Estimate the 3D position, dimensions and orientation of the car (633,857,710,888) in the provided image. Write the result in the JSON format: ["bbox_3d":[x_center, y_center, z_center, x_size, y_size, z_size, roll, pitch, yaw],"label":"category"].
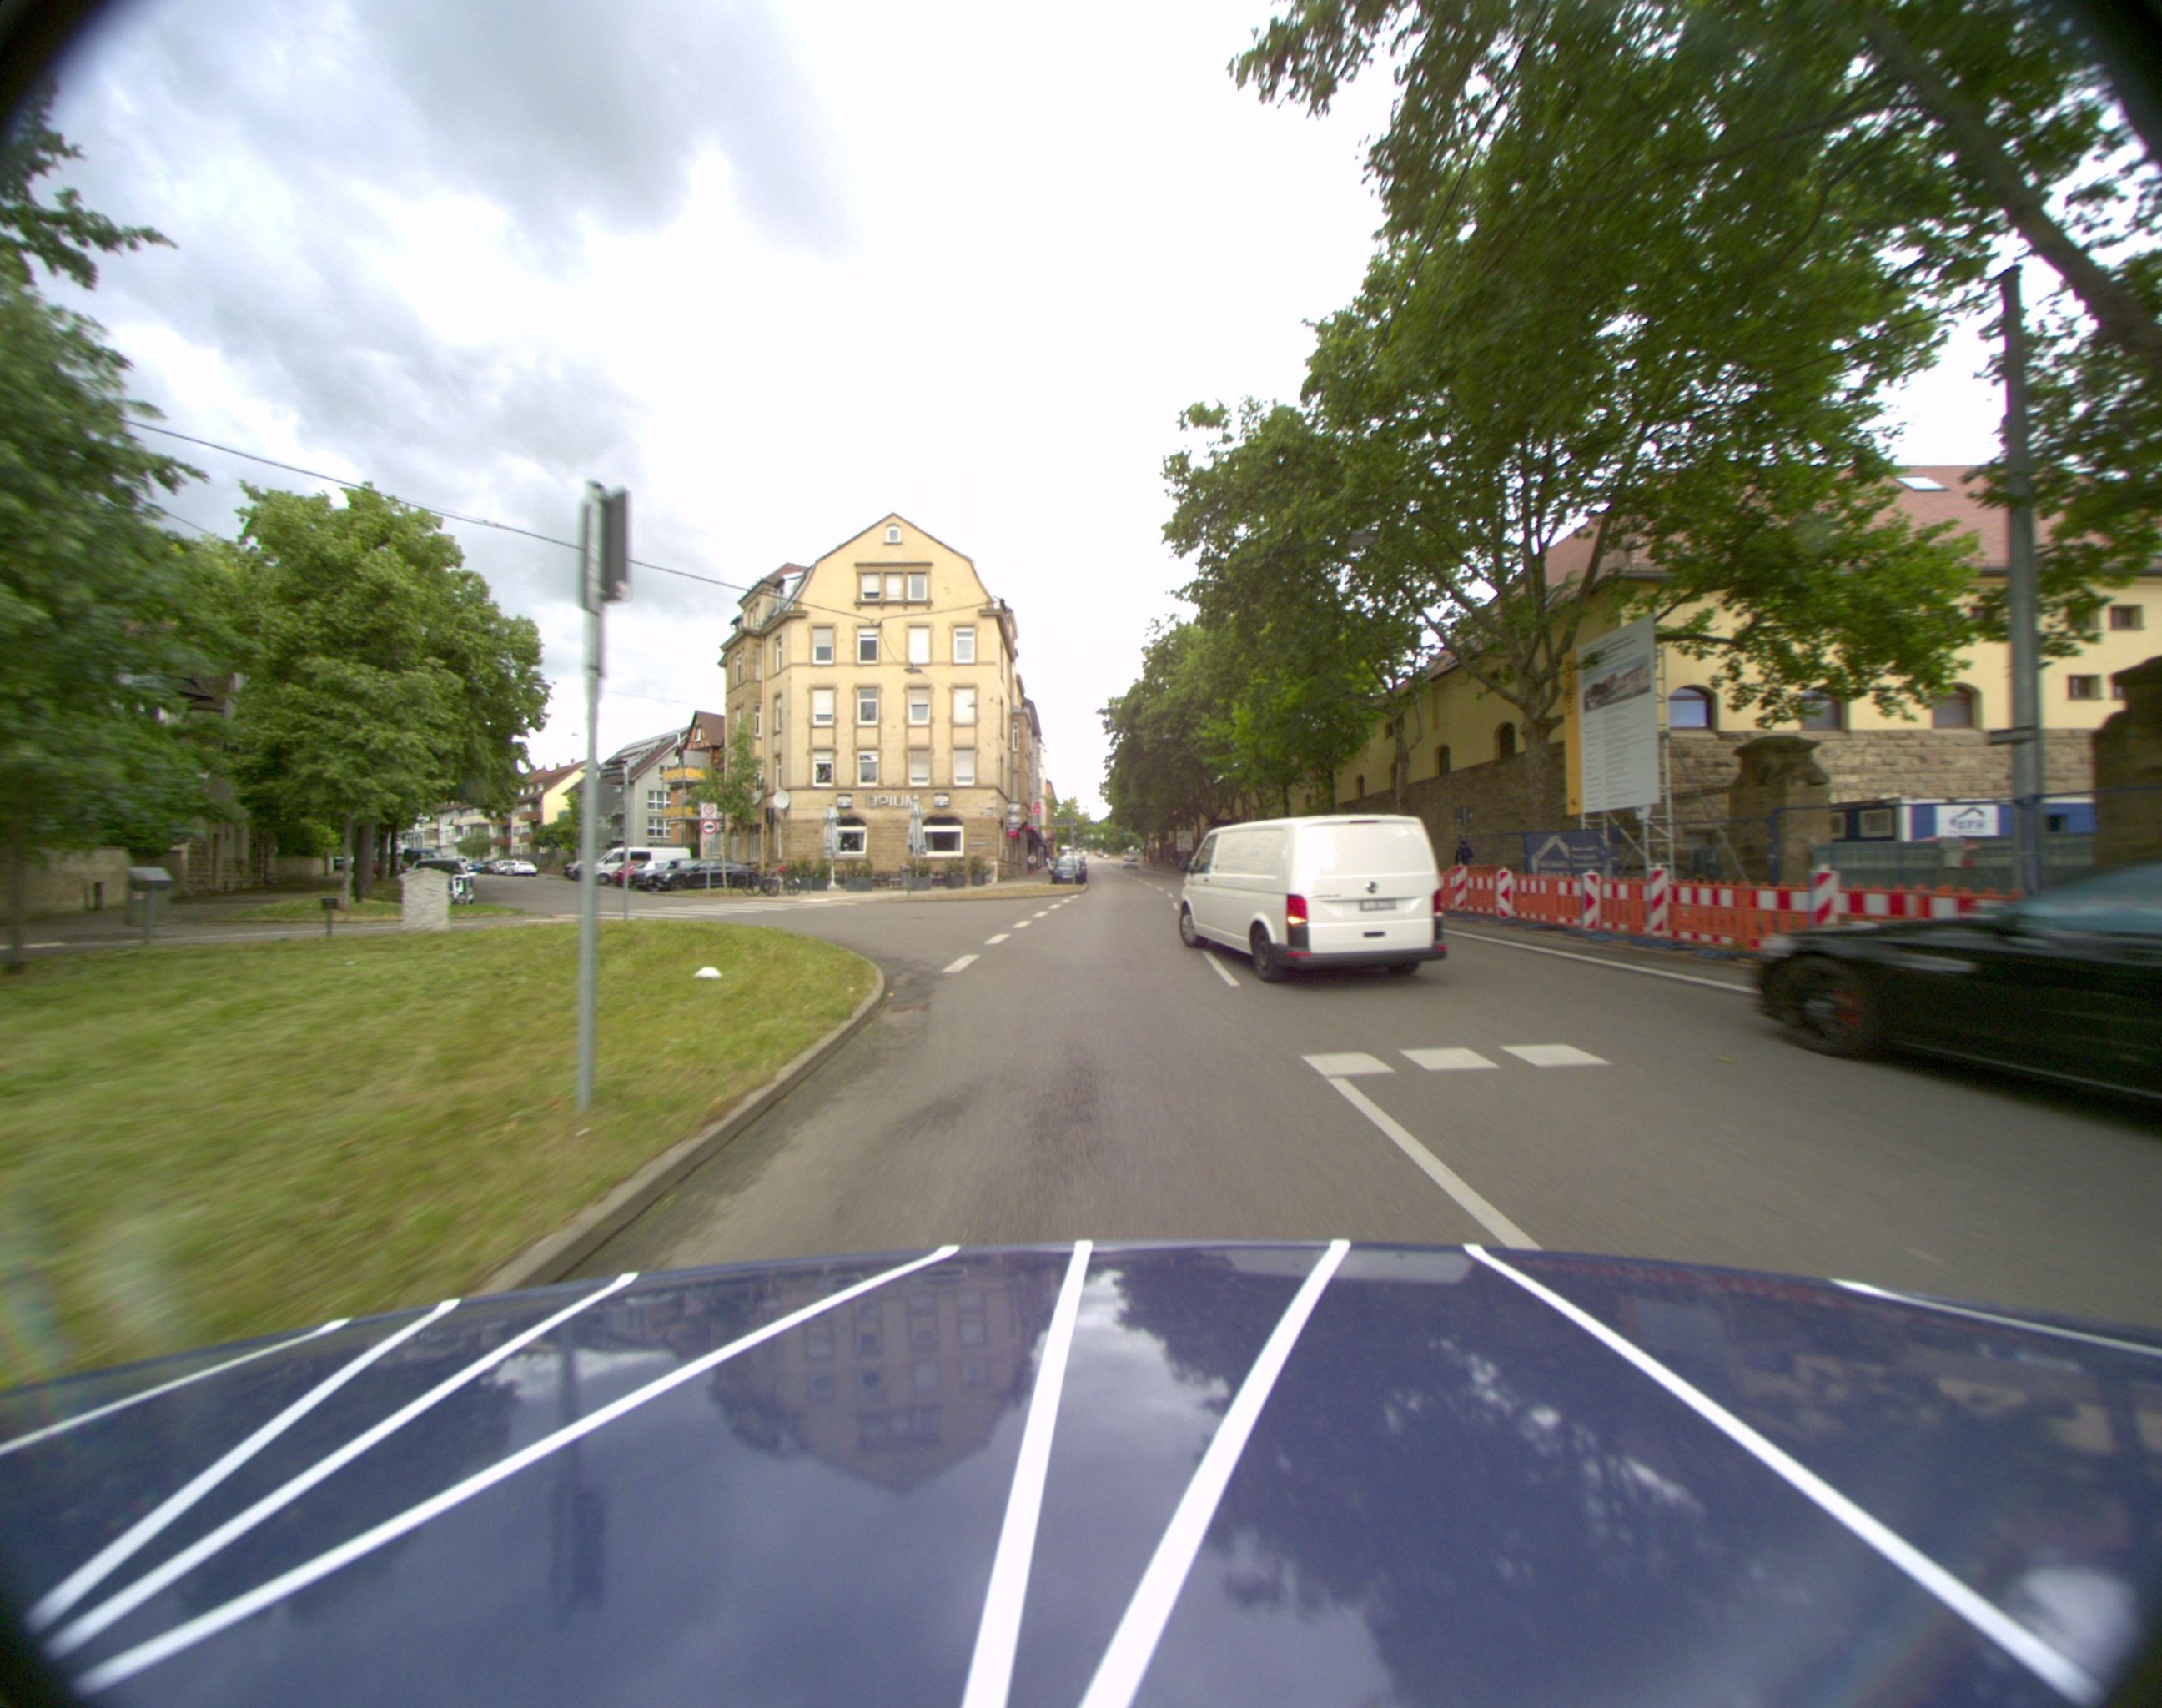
[{"bbox_3d":[-21.492,0.964,39.921,1.469,1.393,3.184,-2,1,40],"label":"car"}]

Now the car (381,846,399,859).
[{"bbox_3d":[-113.874,-0.284,125.153,3.989,2.002,1.820,-2,1,44],"label":"car"}]

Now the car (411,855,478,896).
[{"bbox_3d":[-26.920,0.890,32.214,2.004,1.586,4.361,-2,0,-39],"label":"car"}]

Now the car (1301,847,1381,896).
[{"bbox_3d":[10.607,0.648,31.308,1.838,1.865,4.416,0,0,1],"label":"car"}]

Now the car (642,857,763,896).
[{"bbox_3d":[-16.836,0.947,33.937,1.994,1.587,4.382,0,1,45],"label":"car"}]

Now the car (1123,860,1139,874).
[{"bbox_3d":[5.741,1.500,87.119,1.587,1.455,3.651,2,0,0],"label":"car"}]

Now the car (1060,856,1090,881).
[{"bbox_3d":[-0.423,0.891,48.114,1.743,1.454,4.774,1,0,-2],"label":"car"}]

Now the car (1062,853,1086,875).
[{"bbox_3d":[-0.606,0.760,59.147,1.683,1.653,4.542,1,0,-3],"label":"car"}]

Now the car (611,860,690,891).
[{"bbox_3d":[-23.241,1.146,41.102,1.544,1.429,3.301,-2,1,42],"label":"car"}]

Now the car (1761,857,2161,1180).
[{"bbox_3d":[5.958,0.787,3.269,1.806,1.464,4.849,-1,0,1],"label":"car"}]

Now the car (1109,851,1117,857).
[{"bbox_3d":[9.912,0.112,233.795,1.919,1.640,3.634,-3,1,7],"label":"car"}]

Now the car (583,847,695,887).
[{"bbox_3d":[-26.396,0.720,45.465,5.509,2.279,1.994,-1,1,-40],"label":"car"}]

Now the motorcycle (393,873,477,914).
[{"bbox_3d":[-20.146,1.222,23.727,1.998,1.163,0.560,-3,1,-3],"label":"motorcycle"}]

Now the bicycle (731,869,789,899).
[{"bbox_3d":[-12.264,1.137,29.013,2.182,1.060,0.602,0,1,18],"label":"bicycle"}]

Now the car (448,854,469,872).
[{"bbox_3d":[-73.976,1.102,90.252,1.720,2.002,3.989,-4,1,-42],"label":"car"}]

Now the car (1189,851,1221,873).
[{"bbox_3d":[10.023,0.616,61.607,1.736,1.679,4.251,-3,1,-1],"label":"car"}]

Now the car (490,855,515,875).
[{"bbox_3d":[-60.700,1.160,79.748,1.700,2.002,3.728,-4,1,-42],"label":"car"}]

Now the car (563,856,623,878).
[{"bbox_3d":[-35.160,0.938,54.789,1.544,1.429,3.301,-2,1,42],"label":"car"}]

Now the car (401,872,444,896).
[{"bbox_3d":[-42.383,1.908,48.937,2.004,1.347,4.230,-1,1,-41],"label":"car"}]

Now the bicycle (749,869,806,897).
[{"bbox_3d":[-11.955,1.126,29.941,2.182,1.060,0.602,0,1,18],"label":"bicycle"}]

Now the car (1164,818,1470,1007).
[{"bbox_3d":[2.750,0.583,10.487,2.211,1.920,5.237,-1,0,-5],"label":"car"}]

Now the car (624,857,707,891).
[{"bbox_3d":[-20.295,0.963,37.190,1.544,1.527,3.166,-2,0,40],"label":"car"}]

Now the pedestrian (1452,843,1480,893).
[{"bbox_3d":[14.116,0.498,27.900,0.594,1.789,0.742,-3,1,1],"label":"pedestrian"}]

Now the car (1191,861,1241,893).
[{"bbox_3d":[6.503,1.081,37.006,1.703,1.417,4.249,-1,0,0],"label":"car"}]

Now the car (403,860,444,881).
[{"bbox_3d":[-46.630,1.149,53.863,2.004,1.391,4.117,-1,1,-43],"label":"car"}]

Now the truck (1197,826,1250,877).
[{"bbox_3d":[10.219,-0.184,55.012,2.221,3.396,7.246,-3,0,-1],"label":"truck"}]

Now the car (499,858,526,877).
[{"bbox_3d":[-56.659,1.352,75.749,1.734,1.803,3.862,-4,2,-42],"label":"car"}]

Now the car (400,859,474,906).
[{"bbox_3d":[-22.465,0.921,26.455,1.816,1.490,4.266,-1,0,-42],"label":"car"}]

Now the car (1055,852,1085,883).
[{"bbox_3d":[-0.559,0.722,41.824,1.569,1.601,3.654,0,0,0],"label":"car"}]

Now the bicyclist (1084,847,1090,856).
[{"bbox_3d":[1.094,-0.418,133.137,0.748,1.619,0.683,0,1,37],"label":"bicyclist"}]

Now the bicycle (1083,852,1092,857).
[{"bbox_3d":[1.220,0.070,133.096,1.716,0.986,0.369,0,1,39],"label":"bicycle"}]

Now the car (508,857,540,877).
[{"bbox_3d":[-53.306,1.254,72.663,2.003,1.736,3.989,-4,1,-42],"label":"car"}]
